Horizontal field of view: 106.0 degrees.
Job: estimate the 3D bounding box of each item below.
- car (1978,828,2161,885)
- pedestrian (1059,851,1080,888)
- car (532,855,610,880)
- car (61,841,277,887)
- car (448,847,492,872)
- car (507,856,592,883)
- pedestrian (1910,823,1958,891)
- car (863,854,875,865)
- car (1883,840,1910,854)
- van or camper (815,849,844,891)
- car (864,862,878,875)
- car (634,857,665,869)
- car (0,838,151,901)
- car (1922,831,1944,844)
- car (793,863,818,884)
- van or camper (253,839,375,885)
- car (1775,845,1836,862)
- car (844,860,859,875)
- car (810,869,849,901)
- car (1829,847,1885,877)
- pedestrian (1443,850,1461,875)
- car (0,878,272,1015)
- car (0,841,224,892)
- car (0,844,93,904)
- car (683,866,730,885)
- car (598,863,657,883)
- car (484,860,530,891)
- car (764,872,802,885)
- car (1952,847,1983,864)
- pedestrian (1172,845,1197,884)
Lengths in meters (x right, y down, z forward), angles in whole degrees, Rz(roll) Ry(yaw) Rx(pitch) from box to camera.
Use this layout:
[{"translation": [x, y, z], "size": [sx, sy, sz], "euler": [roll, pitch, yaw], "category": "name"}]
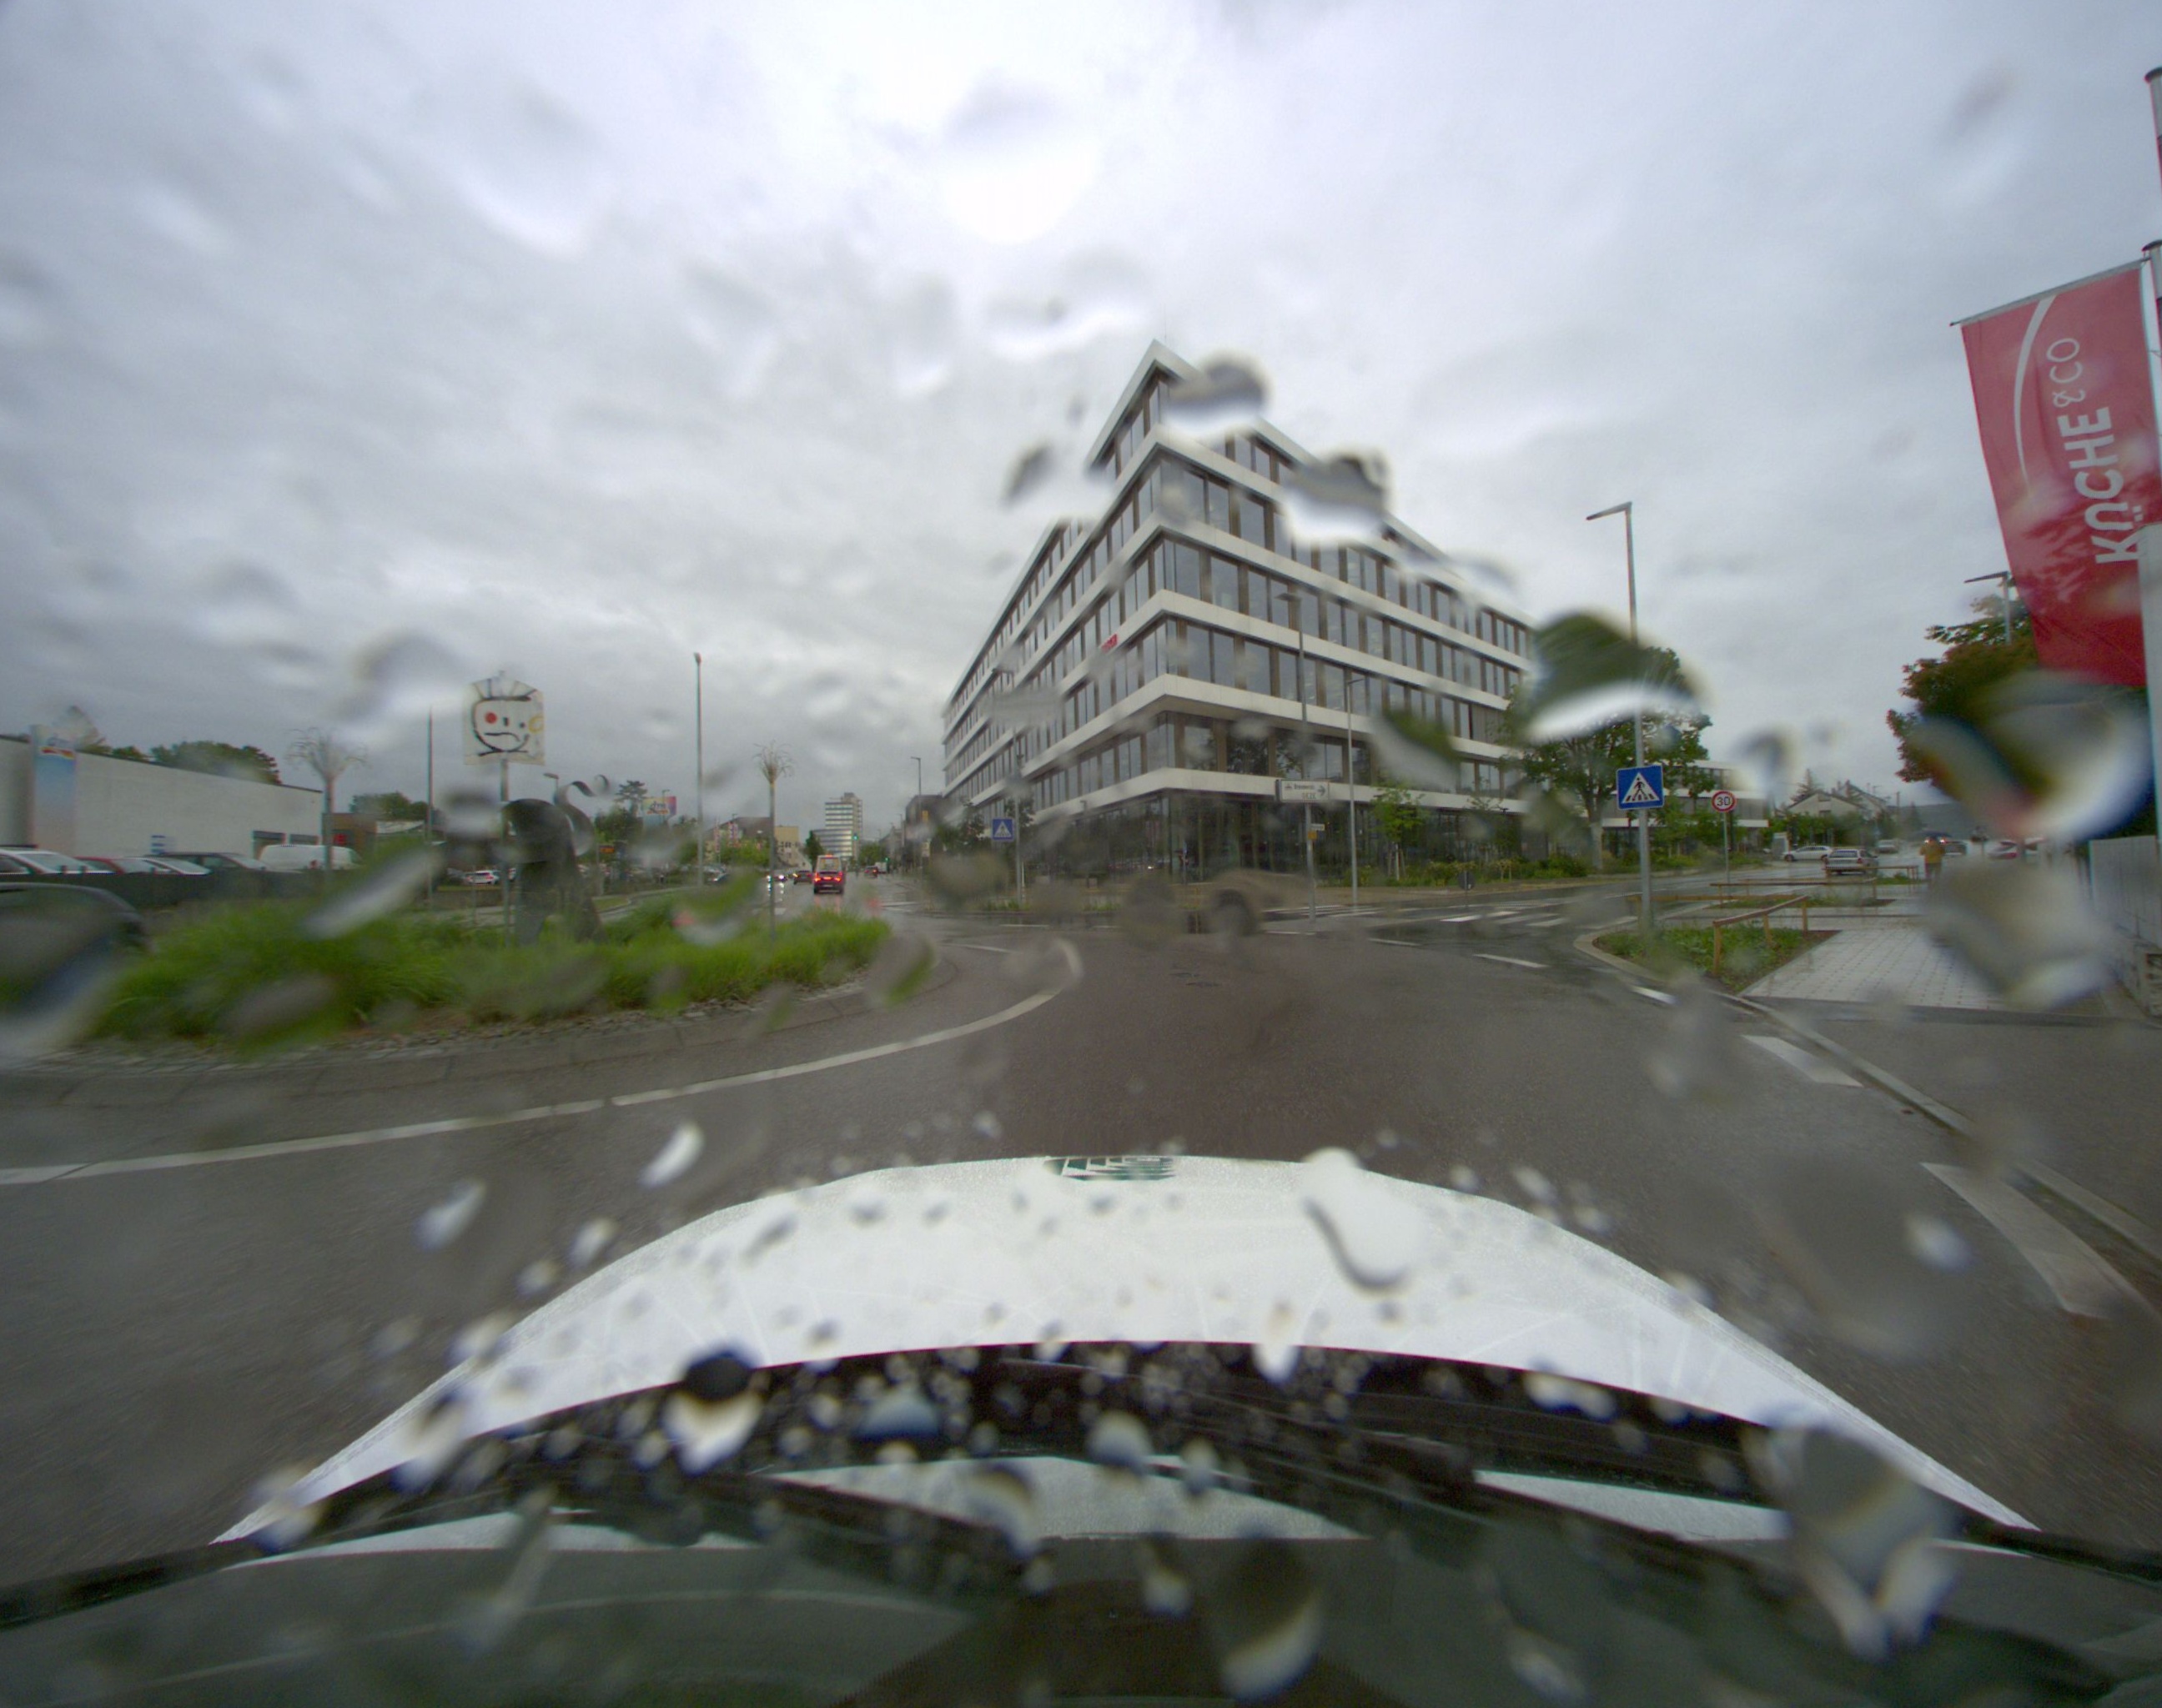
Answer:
[{"translation": [32.040, 0.104, 26.053], "size": [4.088, 1.581, 2.013], "euler": [-4, -2, 36], "category": "car"}, {"translation": [-0.689, 0.895, 47.336], "size": [1.004, 2.146, 0.927], "euler": [-1, -1, -14], "category": "pedestrian"}, {"translation": [-33.305, 0.884, 53.266], "size": [3.999, 1.552, 1.783], "euler": [-1, -1, -20], "category": "car"}, {"translation": [-27.979, 0.262, 25.164], "size": [3.995, 1.295, 1.878], "euler": [0, 2, -16], "category": "car"}, {"translation": [-53.910, 0.449, 71.918], "size": [2.001, 2.013, 3.973], "euler": [2, 1, -21], "category": "car"}, {"translation": [-32.621, 0.967, 50.110], "size": [3.999, 1.552, 1.840], "euler": [-1, -1, -20], "category": "car"}, {"translation": [26.449, 0.102, 25.238], "size": [1.201, 2.014, 0.851], "euler": [0, -4, -42], "category": "pedestrian"}, {"translation": [-38.745, 1.060, 148.814], "size": [1.996, 1.859, 3.981], "euler": [2, 1, -14], "category": "car"}, {"translation": [102.813, -0.893, 102.630], "size": [4.175, 1.629, 1.976], "euler": [-1, -1, -40], "category": "car"}, {"translation": [-19.702, 1.193, 63.676], "size": [1.999, 3.088, 5.070], "euler": [-1, 1, -18], "category": "van or camper"}, {"translation": [-31.822, 2.188, 123.408], "size": [1.996, 1.859, 3.981], "euler": [2, 1, -14], "category": "car"}, {"translation": [-67.731, 1.379, 127.834], "size": [3.997, 1.650, 1.989], "euler": [2, 1, -18], "category": "car"}, {"translation": [-27.008, 0.399, 20.734], "size": [3.999, 1.552, 1.783], "euler": [-1, -1, -20], "category": "car"}, {"translation": [124.508, -2.341, 119.011], "size": [5.006, 1.818, 1.985], "euler": [-1, -1, -41], "category": "car"}, {"translation": [-27.608, 1.961, 81.652], "size": [1.996, 1.859, 3.981], "euler": [2, 1, -14], "category": "car"}, {"translation": [-32.433, 0.263, 34.634], "size": [1.885, 1.761, 4.360], "euler": [0, 2, -15], "category": "van or camper"}, {"translation": [66.754, -0.067, 75.063], "size": [1.907, 1.423, 3.895], "euler": [-1, -1, -39], "category": "car"}, {"translation": [-33.867, 1.954, 120.229], "size": [1.996, 2.013, 3.982], "euler": [-1, 2, -13], "category": "car"}, {"translation": [-15.750, 1.903, 51.205], "size": [1.995, 1.727, 3.984], "euler": [0, 2, -12], "category": "car"}, {"translation": [42.702, 0.436, 44.799], "size": [4.022, 1.555, 1.931], "euler": [1, 1, -43], "category": "car"}, {"translation": [25.855, 0.574, 56.708], "size": [0.960, 1.703, 0.718], "euler": [2, 1, -37], "category": "pedestrian"}, {"translation": [-12.478, 1.024, 9.179], "size": [1.993, 1.382, 5.327], "euler": [-1, 0, -9], "category": "car"}, {"translation": [-27.405, 0.312, 22.961], "size": [3.995, 1.295, 1.878], "euler": [0, 2, -16], "category": "car"}, {"translation": [-25.689, 0.446, 18.314], "size": [3.995, 1.295, 1.878], "euler": [0, 2, -16], "category": "car"}, {"translation": [-38.871, 2.231, 84.577], "size": [1.975, 1.727, 4.024], "euler": [2, 1, 28], "category": "car"}, {"translation": [-37.653, 1.576, 67.648], "size": [3.999, 1.552, 1.783], "euler": [-1, -1, -20], "category": "car"}, {"translation": [-41.102, 1.500, 58.381], "size": [2.004, 2.013, 3.967], "euler": [2, 1, -26], "category": "car"}, {"translation": [-34.729, 2.817, 94.957], "size": [1.976, 1.398, 4.021], "euler": [-1, -1, 21], "category": "car"}, {"translation": [97.668, 0.177, 89.719], "size": [4.020, 1.705, 2.136], "euler": [1, 1, -40], "category": "car"}, {"translation": [5.437, 0.541, 42.849], "size": [0.937, 2.014, 0.882], "euler": [0, -1, -44], "category": "pedestrian"}]
